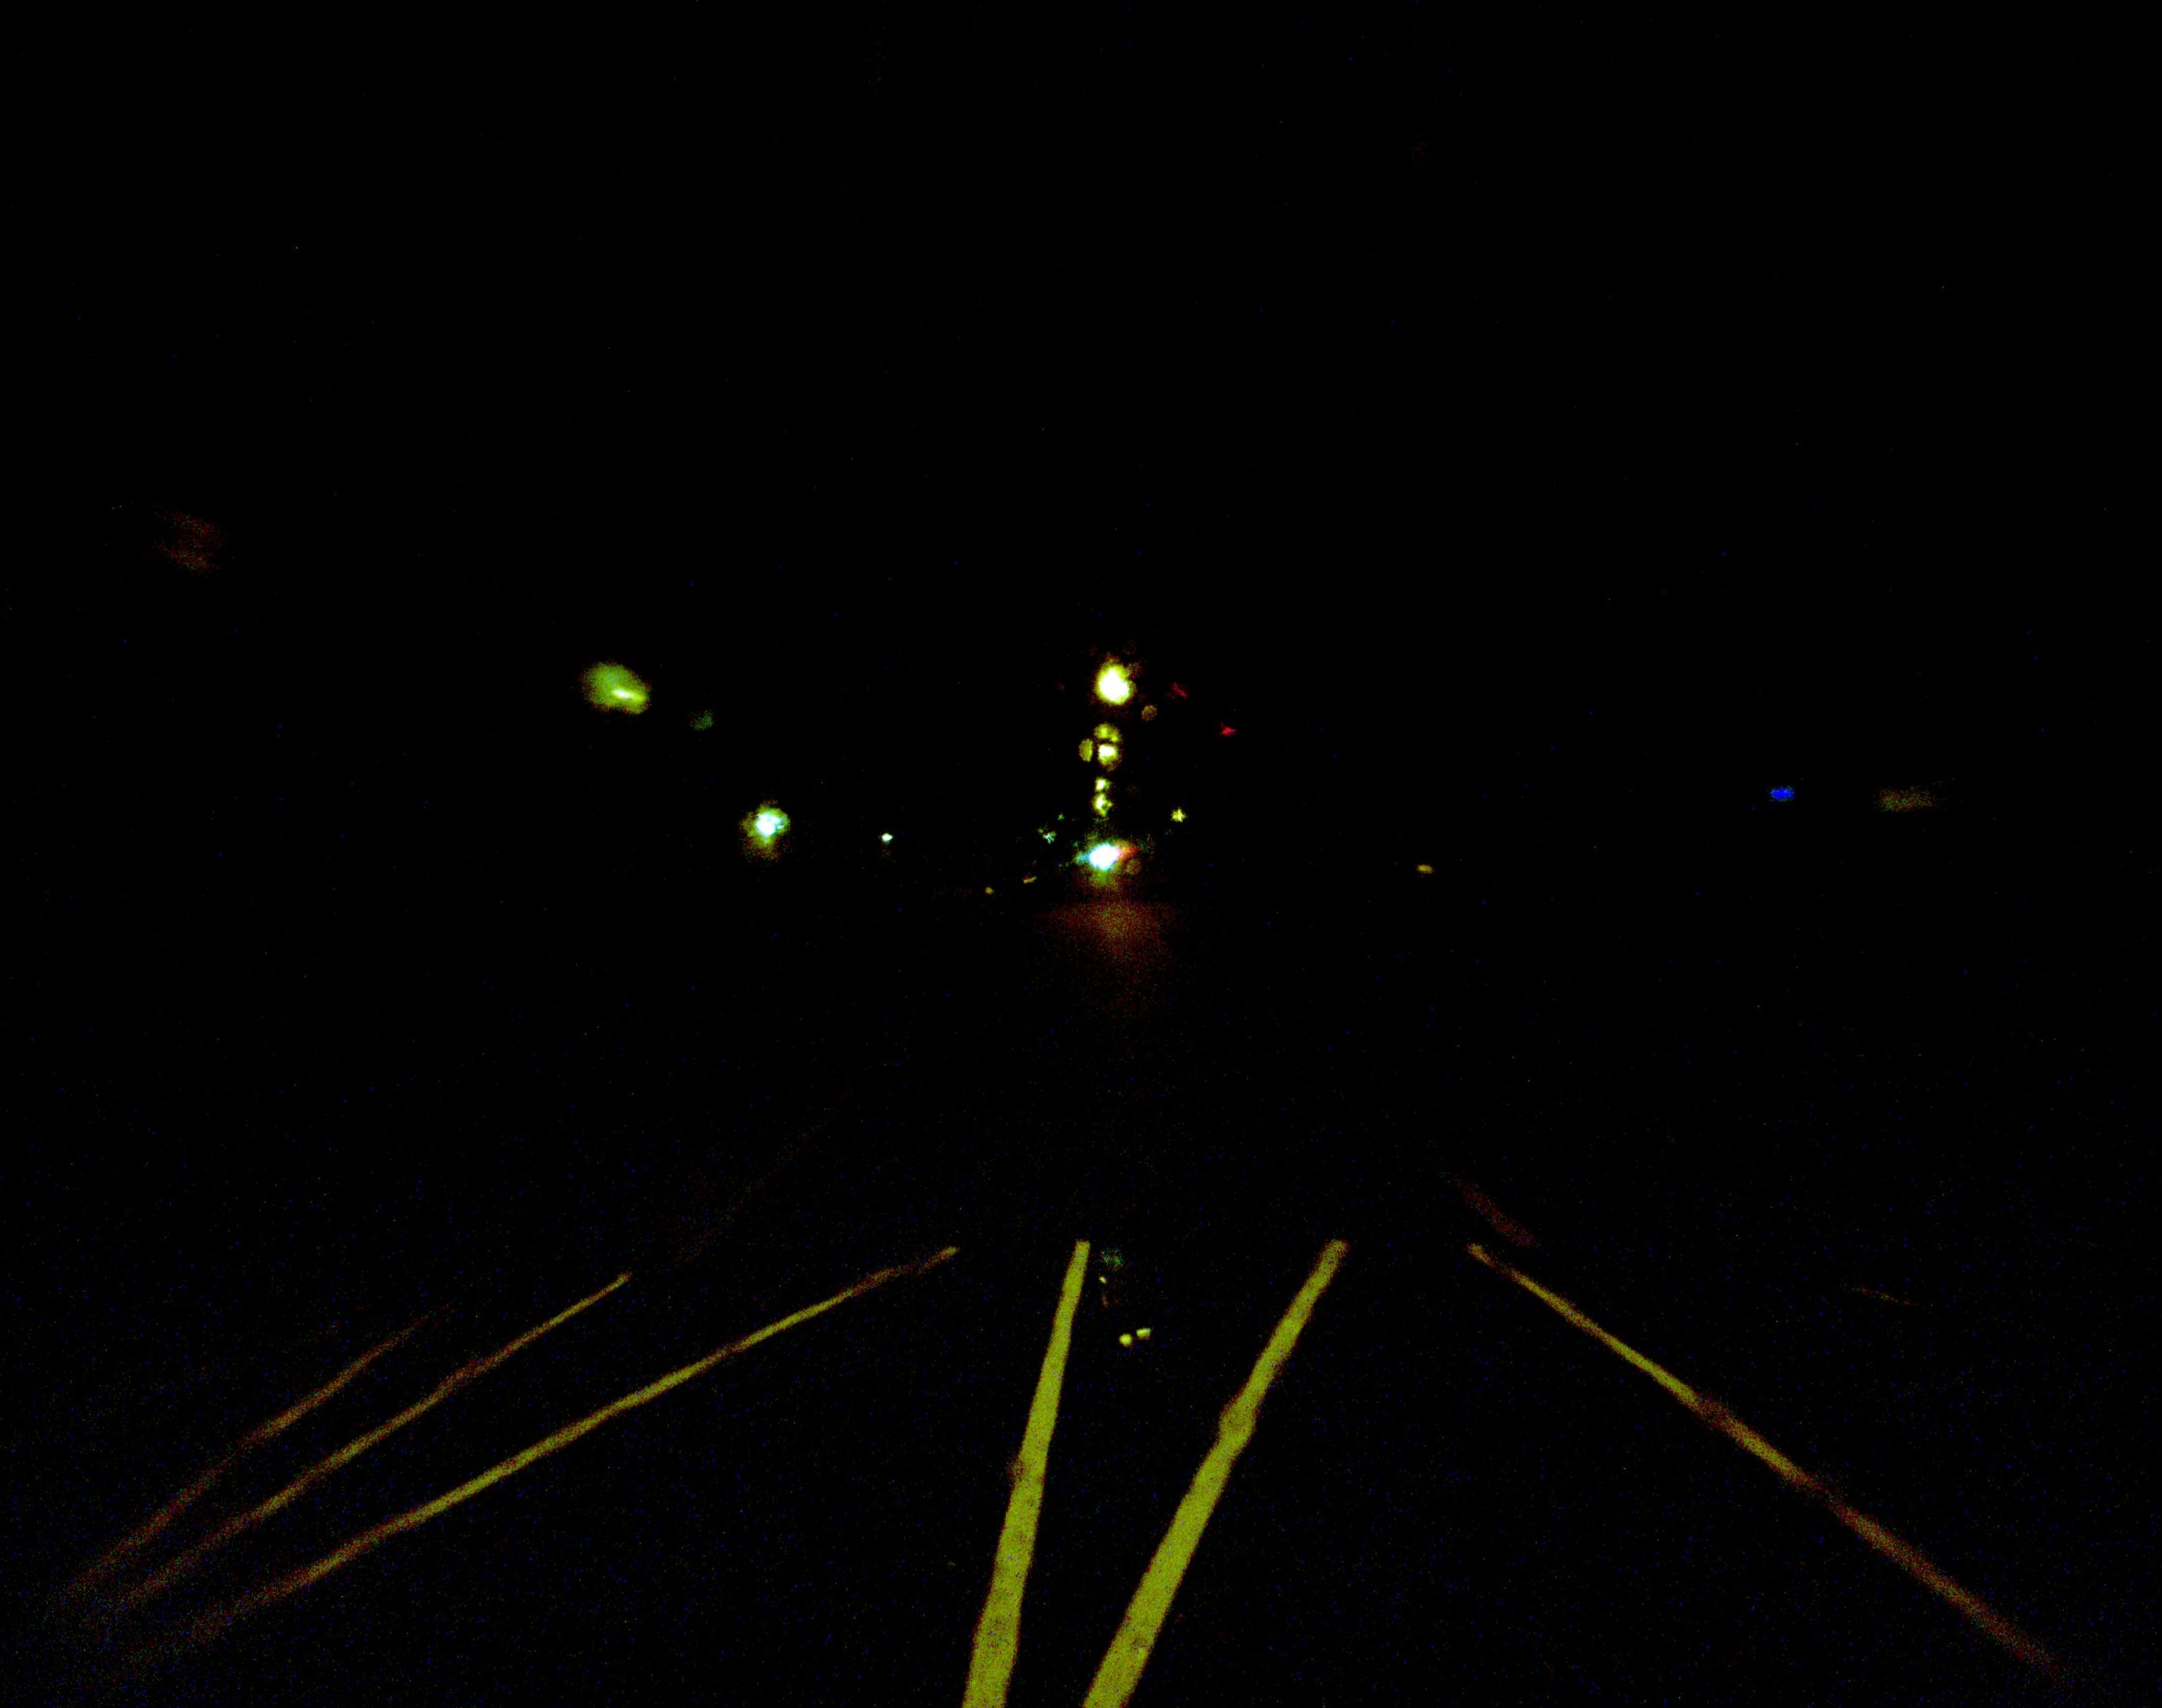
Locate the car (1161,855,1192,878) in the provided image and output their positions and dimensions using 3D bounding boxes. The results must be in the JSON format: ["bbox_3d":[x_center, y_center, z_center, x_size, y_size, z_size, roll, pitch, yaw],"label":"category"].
[{"bbox_3d":[7.159,0.920,57.155,1.670,1.531,4.390,3,0,-1],"label":"car"}]

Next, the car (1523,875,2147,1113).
[{"bbox_3d":[6.271,0.991,7.228,1.602,1.365,4.354,3,0,1],"label":"car"}]

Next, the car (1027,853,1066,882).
[{"bbox_3d":[-1.913,0.726,43.671,1.758,1.539,4.978,1,0,2],"label":"car"}]

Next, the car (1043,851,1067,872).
[{"bbox_3d":[-1.699,0.472,50.141,1.460,1.298,3.628,1,0,-1],"label":"car"}]

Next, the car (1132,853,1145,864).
[{"bbox_3d":[8.241,0.664,108.888,1.627,1.464,3.963,1,0,2],"label":"car"}]

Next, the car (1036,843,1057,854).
[{"bbox_3d":[-7.061,-1.153,156.655,4.021,2.156,1.803,1,0,8],"label":"car"}]

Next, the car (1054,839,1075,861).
[{"bbox_3d":[-1.526,-0.361,70.171,1.800,1.938,5.853,1,0,-2],"label":"car"}]

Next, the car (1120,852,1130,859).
[{"bbox_3d":[9.408,0.348,162.552,2.044,1.539,4.683,-1,0,3],"label":"car"}]

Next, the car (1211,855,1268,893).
[{"bbox_3d":[6.857,0.802,33.353,1.640,1.448,4.934,3,0,3],"label":"car"}]

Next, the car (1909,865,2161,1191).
[{"bbox_3d":[6.014,0.891,2.582,1.602,1.555,4.380,3,0,1],"label":"car"}]

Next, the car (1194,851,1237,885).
[{"bbox_3d":[6.779,0.675,38.550,1.478,1.610,3.373,3,0,-1],"label":"car"}]

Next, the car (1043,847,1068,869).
[{"bbox_3d":[-1.784,0.242,54.913,1.679,1.479,4.279,1,0,-1],"label":"car"}]

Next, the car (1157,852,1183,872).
[{"bbox_3d":[7.272,0.643,62.662,1.670,1.531,4.391,3,0,1],"label":"car"}]

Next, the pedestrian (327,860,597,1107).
[{"bbox_3d":[-4.331,0.839,5.417,1.052,1.566,1.019,0,1,6],"label":"pedestrian"}]

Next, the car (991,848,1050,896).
[{"bbox_3d":[-2.201,0.629,28.814,1.827,1.628,4.488,1,0,0],"label":"car"}]

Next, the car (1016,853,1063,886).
[{"bbox_3d":[-2.050,0.753,38.616,1.828,1.539,4.353,1,0,3],"label":"car"}]

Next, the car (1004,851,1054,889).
[{"bbox_3d":[-2.231,0.669,33.792,1.804,1.521,5.051,1,0,0],"label":"car"}]

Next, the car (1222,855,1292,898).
[{"bbox_3d":[6.531,0.791,28.543,1.602,1.423,4.004,3,0,-1],"label":"car"}]

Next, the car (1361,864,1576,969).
[{"bbox_3d":[6.328,0.923,12.982,1.602,1.365,4.067,3,0,1],"label":"car"}]

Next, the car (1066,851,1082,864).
[{"bbox_3d":[-0.896,0.419,91.968,1.800,1.464,3.951,1,0,-2],"label":"car"}]

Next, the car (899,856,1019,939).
[{"bbox_3d":[-2.530,0.829,16.917,1.827,1.521,4.782,1,0,0],"label":"car"}]

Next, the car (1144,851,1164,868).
[{"bbox_3d":[7.058,0.494,73.529,1.669,1.531,4.391,1,0,2],"label":"car"}]

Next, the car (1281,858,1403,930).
[{"bbox_3d":[6.316,0.884,18.894,1.602,1.478,4.274,3,0,1],"label":"car"}]

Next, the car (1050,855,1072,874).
[{"bbox_3d":[-1.688,0.866,64.176,1.800,1.483,4.128,1,0,-2],"label":"car"}]

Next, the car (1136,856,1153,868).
[{"bbox_3d":[7.885,0.964,95.035,1.799,1.464,4.396,1,0,1],"label":"car"}]

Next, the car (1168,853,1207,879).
[{"bbox_3d":[7.228,0.780,52.004,1.751,1.588,4.389,3,0,-4],"label":"car"}]

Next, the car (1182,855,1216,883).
[{"bbox_3d":[6.683,0.799,43.220,1.435,1.452,3.374,3,0,2],"label":"car"}]

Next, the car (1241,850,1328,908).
[{"bbox_3d":[6.293,0.718,23.959,1.602,1.596,4.258,3,0,1],"label":"car"}]

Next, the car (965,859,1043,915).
[{"bbox_3d":[-2.199,0.915,22.848,1.827,1.413,4.488,1,0,0],"label":"car"}]
